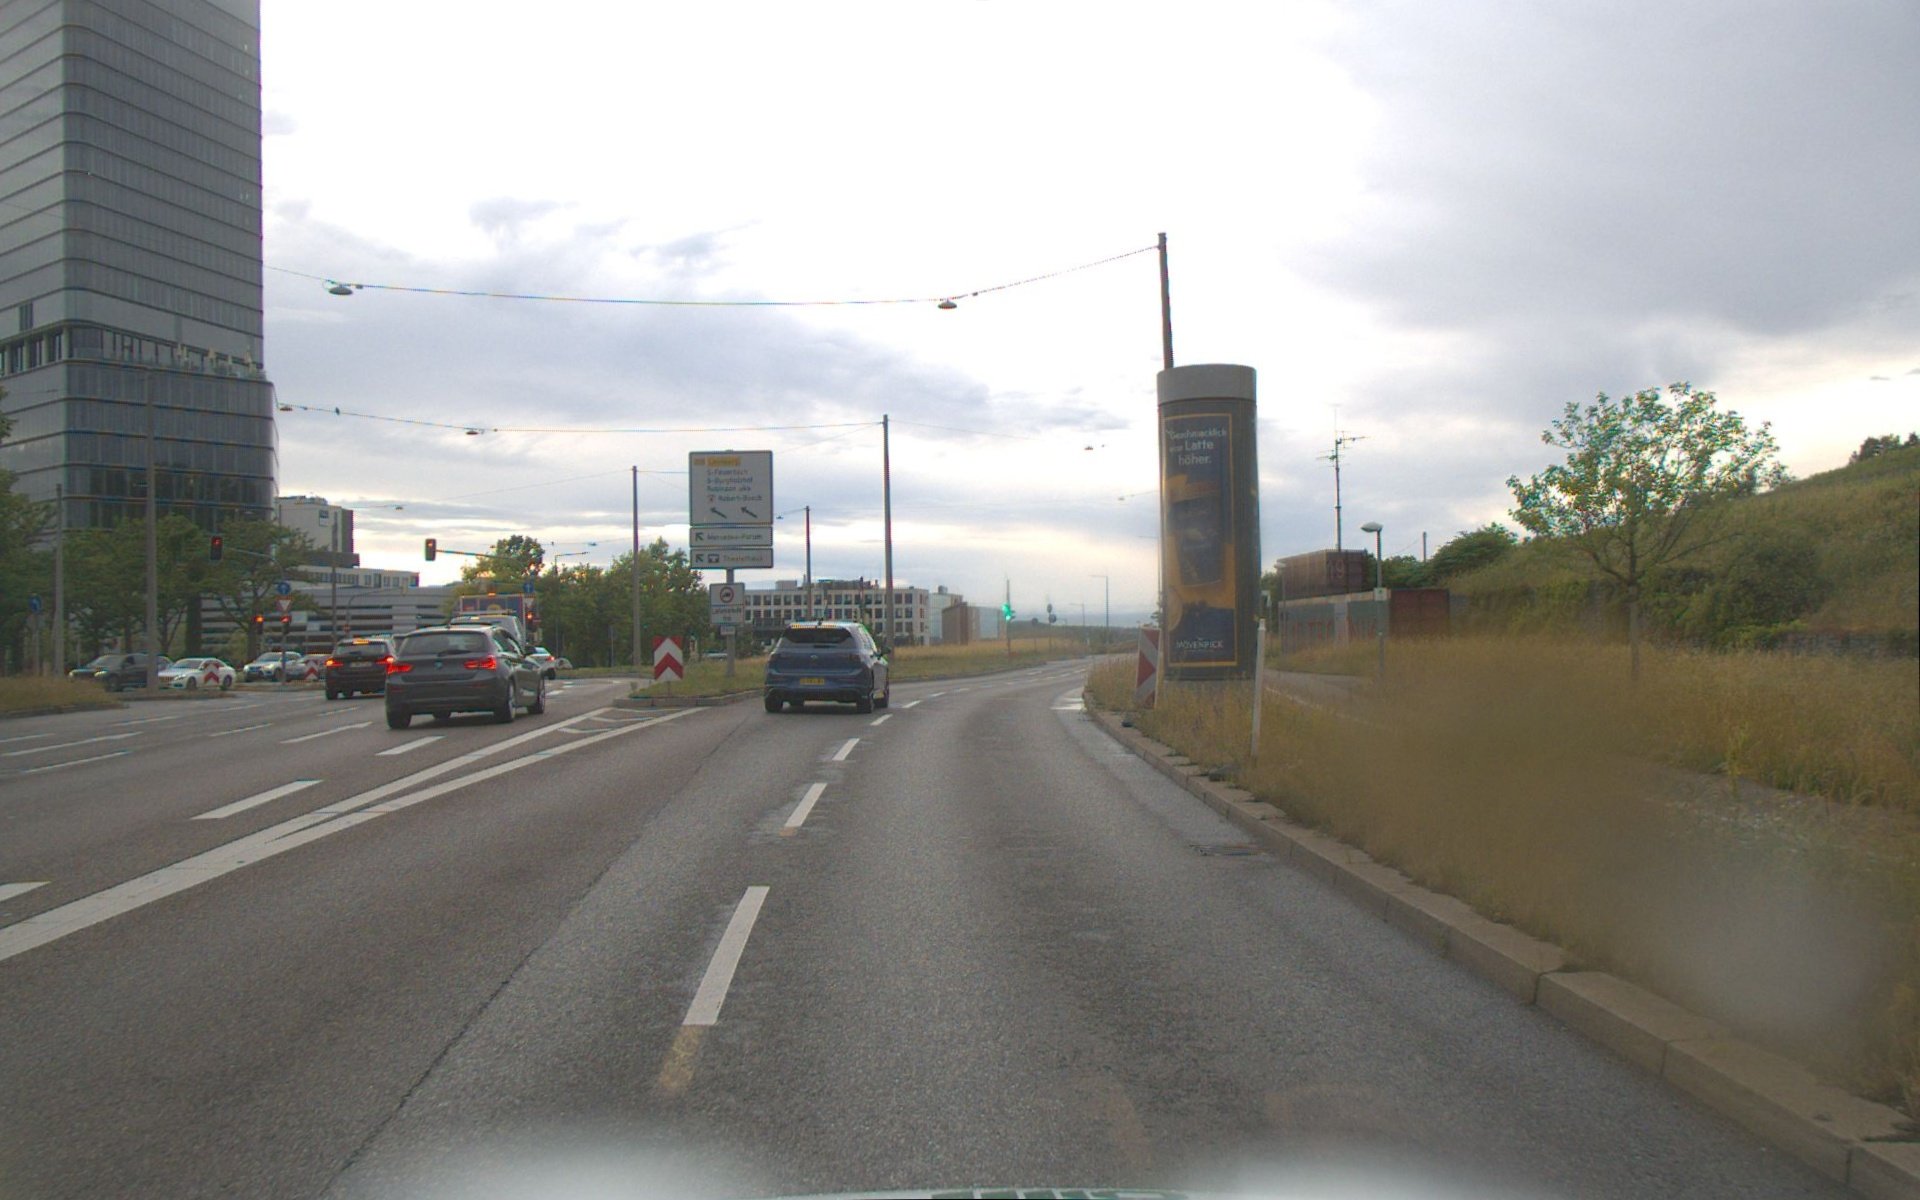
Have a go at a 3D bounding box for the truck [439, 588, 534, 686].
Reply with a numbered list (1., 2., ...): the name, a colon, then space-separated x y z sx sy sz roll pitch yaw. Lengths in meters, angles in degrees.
1. truck: -16.883 1.295 58.717 2.629 3.276 6.505 0 -1 -22

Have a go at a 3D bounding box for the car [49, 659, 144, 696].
1. car: -37.910 3.377 72.727 1.891 1.510 4.577 -1 -1 -2

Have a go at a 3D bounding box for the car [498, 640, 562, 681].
1. car: -18.977 2.692 72.905 1.896 1.672 4.354 0 -3 -26

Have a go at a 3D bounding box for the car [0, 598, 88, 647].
1. car: -33.227 0.791 58.916 1.854 1.687 4.605 -1 0 1

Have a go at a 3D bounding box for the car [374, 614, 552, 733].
1. car: -7.395 1.038 24.965 1.833 1.487 3.971 -1 1 -6

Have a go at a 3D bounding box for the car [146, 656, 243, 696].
1. car: -33.890 3.345 73.370 1.853 1.687 4.608 -1 -1 5

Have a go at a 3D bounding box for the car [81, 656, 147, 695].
1. car: -44.100 3.920 86.313 1.564 1.847 3.536 -1 0 1

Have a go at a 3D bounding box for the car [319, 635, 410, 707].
1. car: -14.677 1.741 40.921 1.875 1.591 3.980 -2 -1 -17

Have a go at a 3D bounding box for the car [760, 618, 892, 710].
1. car: -2.169 1.040 27.770 1.800 1.418 4.000 -1 -1 1

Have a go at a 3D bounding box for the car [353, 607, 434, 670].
1. car: -16.694 1.116 48.902 1.807 1.711 4.058 2 -1 -13

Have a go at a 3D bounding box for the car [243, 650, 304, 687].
1. car: -37.870 3.740 91.321 1.727 1.870 3.757 -1 0 1

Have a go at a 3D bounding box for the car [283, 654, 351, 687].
1. car: -34.664 3.769 89.230 1.789 1.686 3.916 -1 -1 7

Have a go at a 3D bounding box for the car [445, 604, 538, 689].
1. car: -12.013 1.199 42.672 1.871 2.007 5.076 -2 -1 -12
